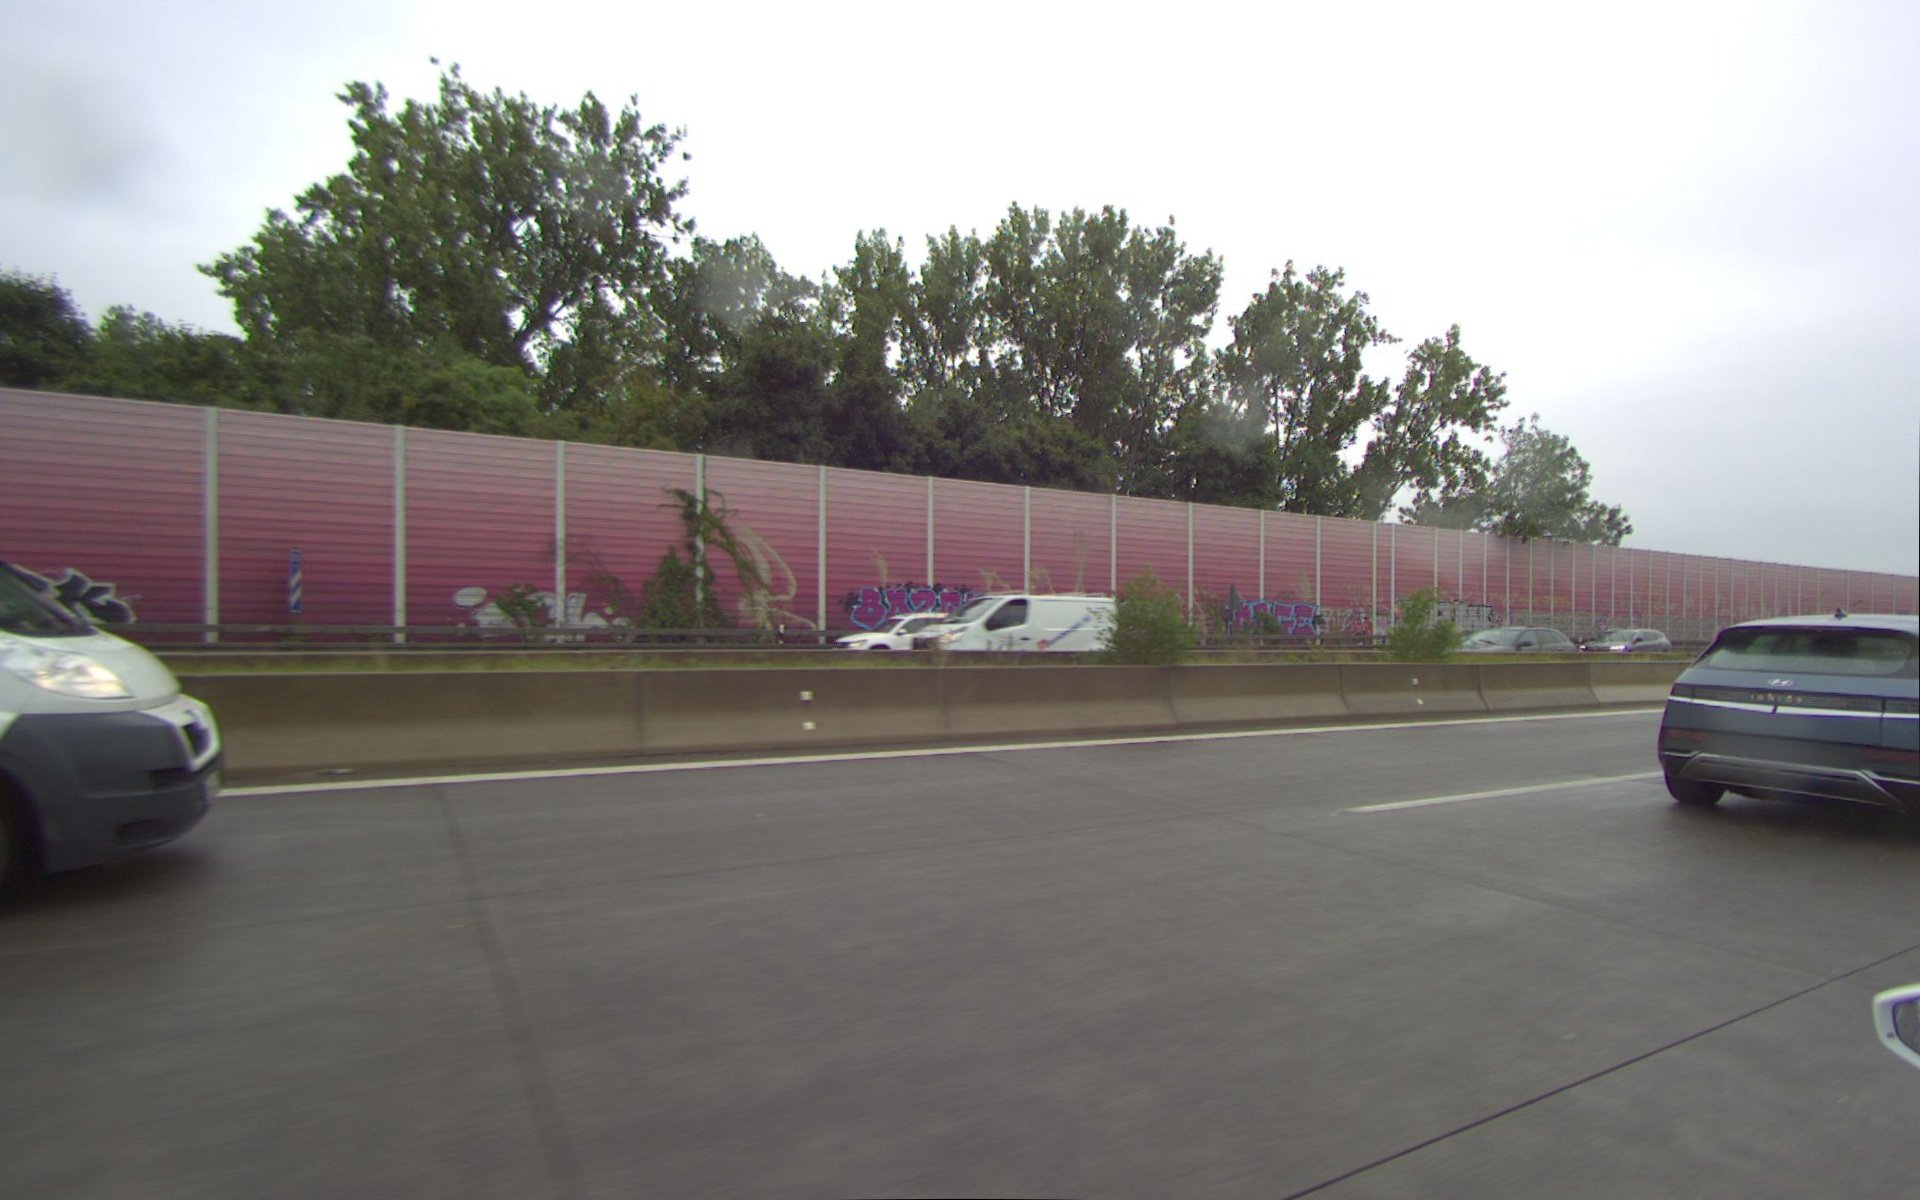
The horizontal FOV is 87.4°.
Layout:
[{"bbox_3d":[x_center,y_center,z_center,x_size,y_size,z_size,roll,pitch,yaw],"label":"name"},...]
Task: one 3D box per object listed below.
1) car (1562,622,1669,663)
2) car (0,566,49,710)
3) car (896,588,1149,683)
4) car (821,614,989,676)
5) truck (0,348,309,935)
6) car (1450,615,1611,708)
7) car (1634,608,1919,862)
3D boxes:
[{"bbox_3d":[27.643,1.761,42.346,4.485,1.670,1.984,1,-2,-30],"label":"car"},{"bbox_3d":[-14.847,0.442,12.898,4.342,1.884,1.982,1,0,-33],"label":"car"},{"bbox_3d":[1.468,0.747,22.201,5.482,1.884,1.982,1,0,-33],"label":"car"},{"bbox_3d":[-1.579,1.265,29.103,4.485,1.670,1.984,1,-2,-30],"label":"car"},{"bbox_3d":[-6.629,0.120,4.091,6.507,2.512,2.226,1,0,-31],"label":"truck"},{"bbox_3d":[14.469,1.492,25.465,3.609,2.041,1.855,1,4,-30],"label":"car"},{"bbox_3d":[8.025,0.952,8.501,5.096,1.615,1.829,2,0,-31],"label":"car"}]
